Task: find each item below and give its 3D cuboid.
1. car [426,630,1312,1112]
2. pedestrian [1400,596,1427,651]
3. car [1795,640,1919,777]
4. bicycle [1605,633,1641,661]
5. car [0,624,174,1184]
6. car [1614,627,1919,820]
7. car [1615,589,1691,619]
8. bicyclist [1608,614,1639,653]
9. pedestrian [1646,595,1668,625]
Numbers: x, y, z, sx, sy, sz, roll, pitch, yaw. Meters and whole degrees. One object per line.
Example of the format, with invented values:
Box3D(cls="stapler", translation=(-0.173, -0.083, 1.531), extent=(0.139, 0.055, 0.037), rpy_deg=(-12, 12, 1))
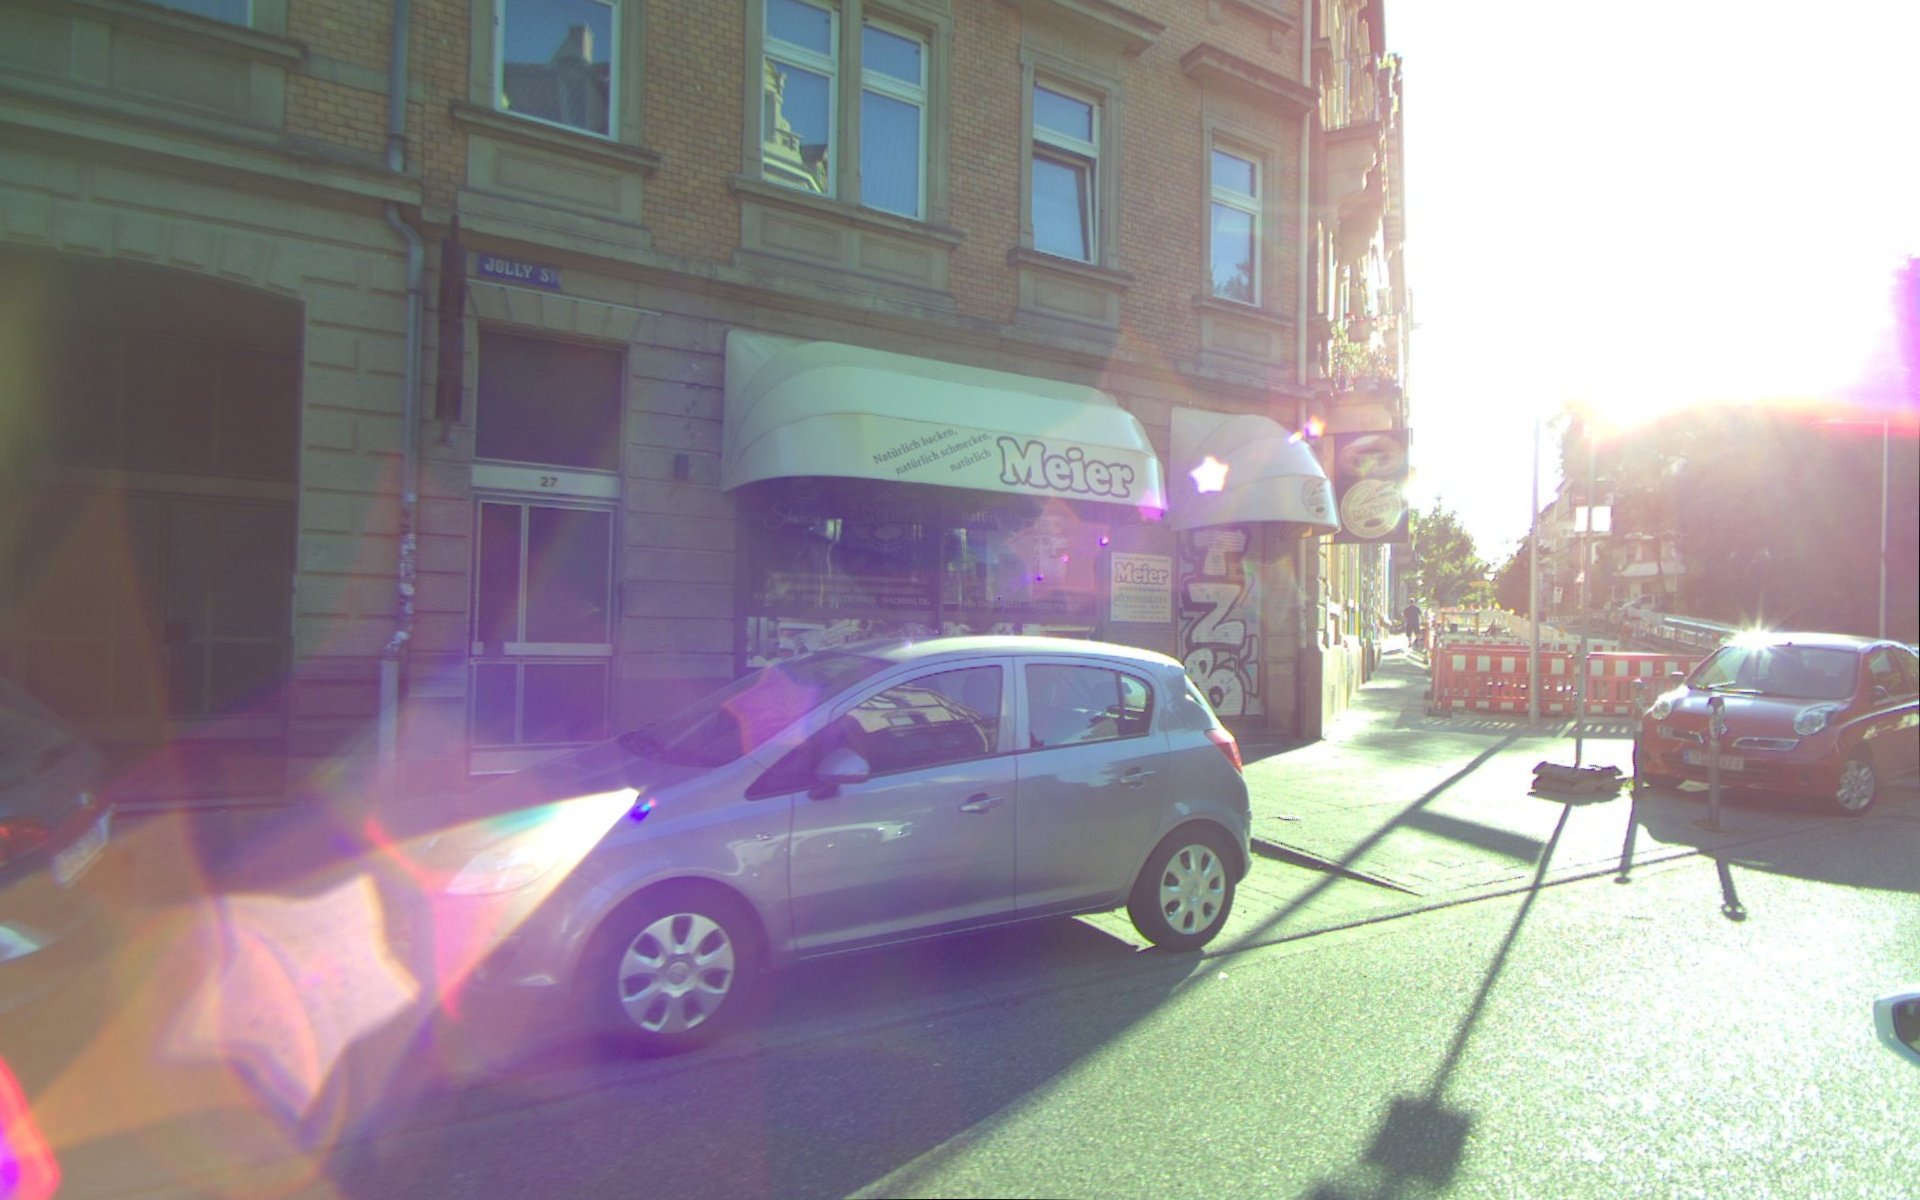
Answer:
Box3D(cls="car", translation=(-0.345, 0.915, 4.897), extent=(3.948, 1.456, 1.717), rpy_deg=(1, 0, -30))
Box3D(cls="pedestrian", translation=(17.351, 0.893, 38.409), extent=(0.925, 2.040, 0.958), rpy_deg=(0, -1, 26))
Box3D(cls="car", translation=(12.080, 1.254, 12.285), extent=(3.953, 1.477, 1.661), rpy_deg=(2, -1, -31))
Box3D(cls="bicycle", translation=(24.348, 1.709, 36.913), extent=(0.790, 0.981, 2.107), rpy_deg=(1, -1, 25))
Box3D(cls="car", translation=(-4.661, 0.772, 2.322), extent=(4.252, 1.456, 1.756), rpy_deg=(1, -2, -32))
Box3D(cls="car", translation=(8.345, 1.076, 9.956), extent=(3.956, 1.550, 1.660), rpy_deg=(2, -2, -33))
Box3D(cls="car", translation=(48.970, 0.295, 70.996), extent=(4.315, 2.040, 1.926), rpy_deg=(0, -1, 39))
Box3D(cls="bicyclist", translation=(24.353, 1.209, 36.886), extent=(0.790, 1.402, 0.984), rpy_deg=(1, -1, 25))
Box3D(cls="pedestrian", translation=(41.129, 0.597, 59.312), extent=(0.843, 1.786, 1.092), rpy_deg=(1, -1, 23))
